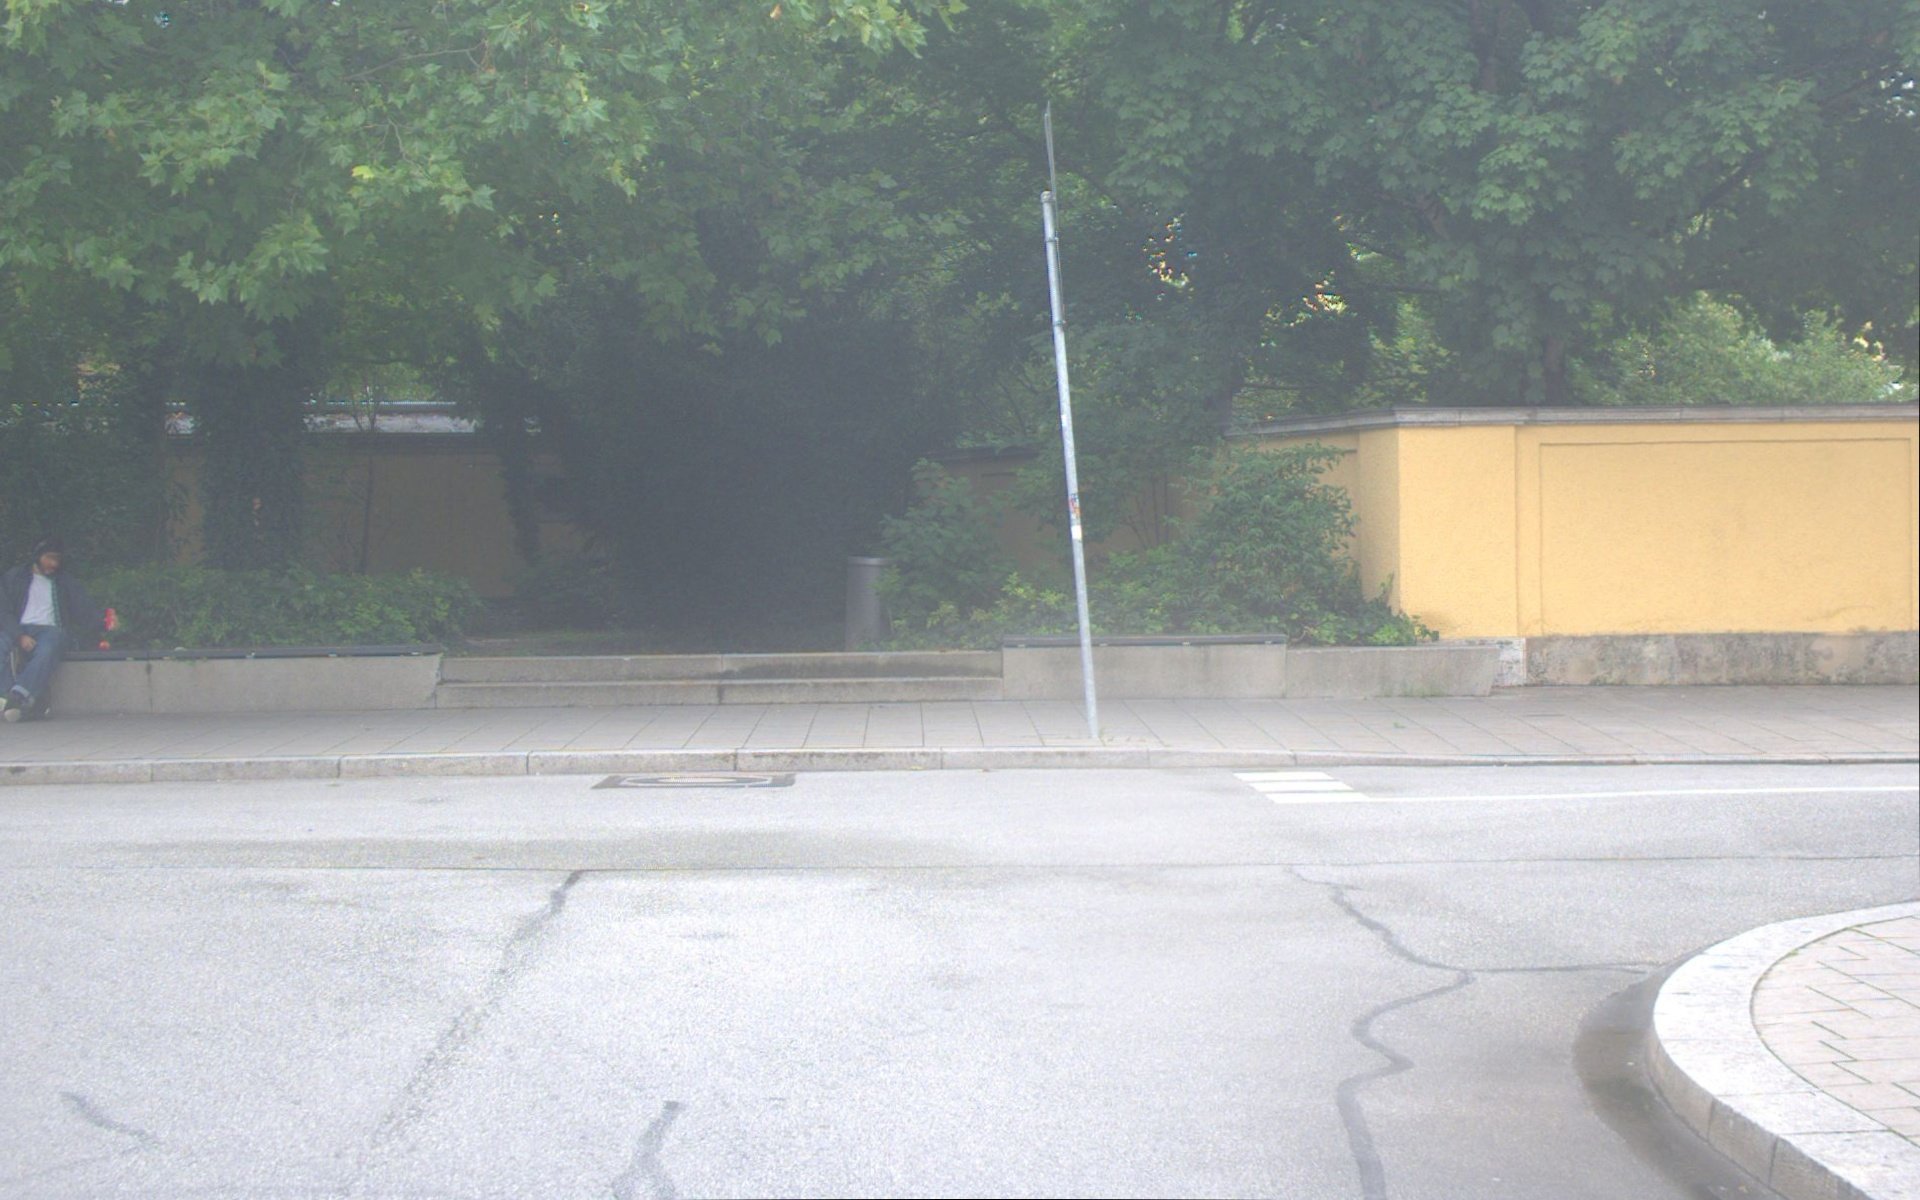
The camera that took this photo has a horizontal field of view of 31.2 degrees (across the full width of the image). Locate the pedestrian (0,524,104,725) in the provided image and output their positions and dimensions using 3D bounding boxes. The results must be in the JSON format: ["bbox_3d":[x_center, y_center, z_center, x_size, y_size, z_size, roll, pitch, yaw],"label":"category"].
[{"bbox_3d":[-6.485,0.157,23.920,0.769,1.352,1.131,-1,1,-1],"label":"pedestrian"}]
